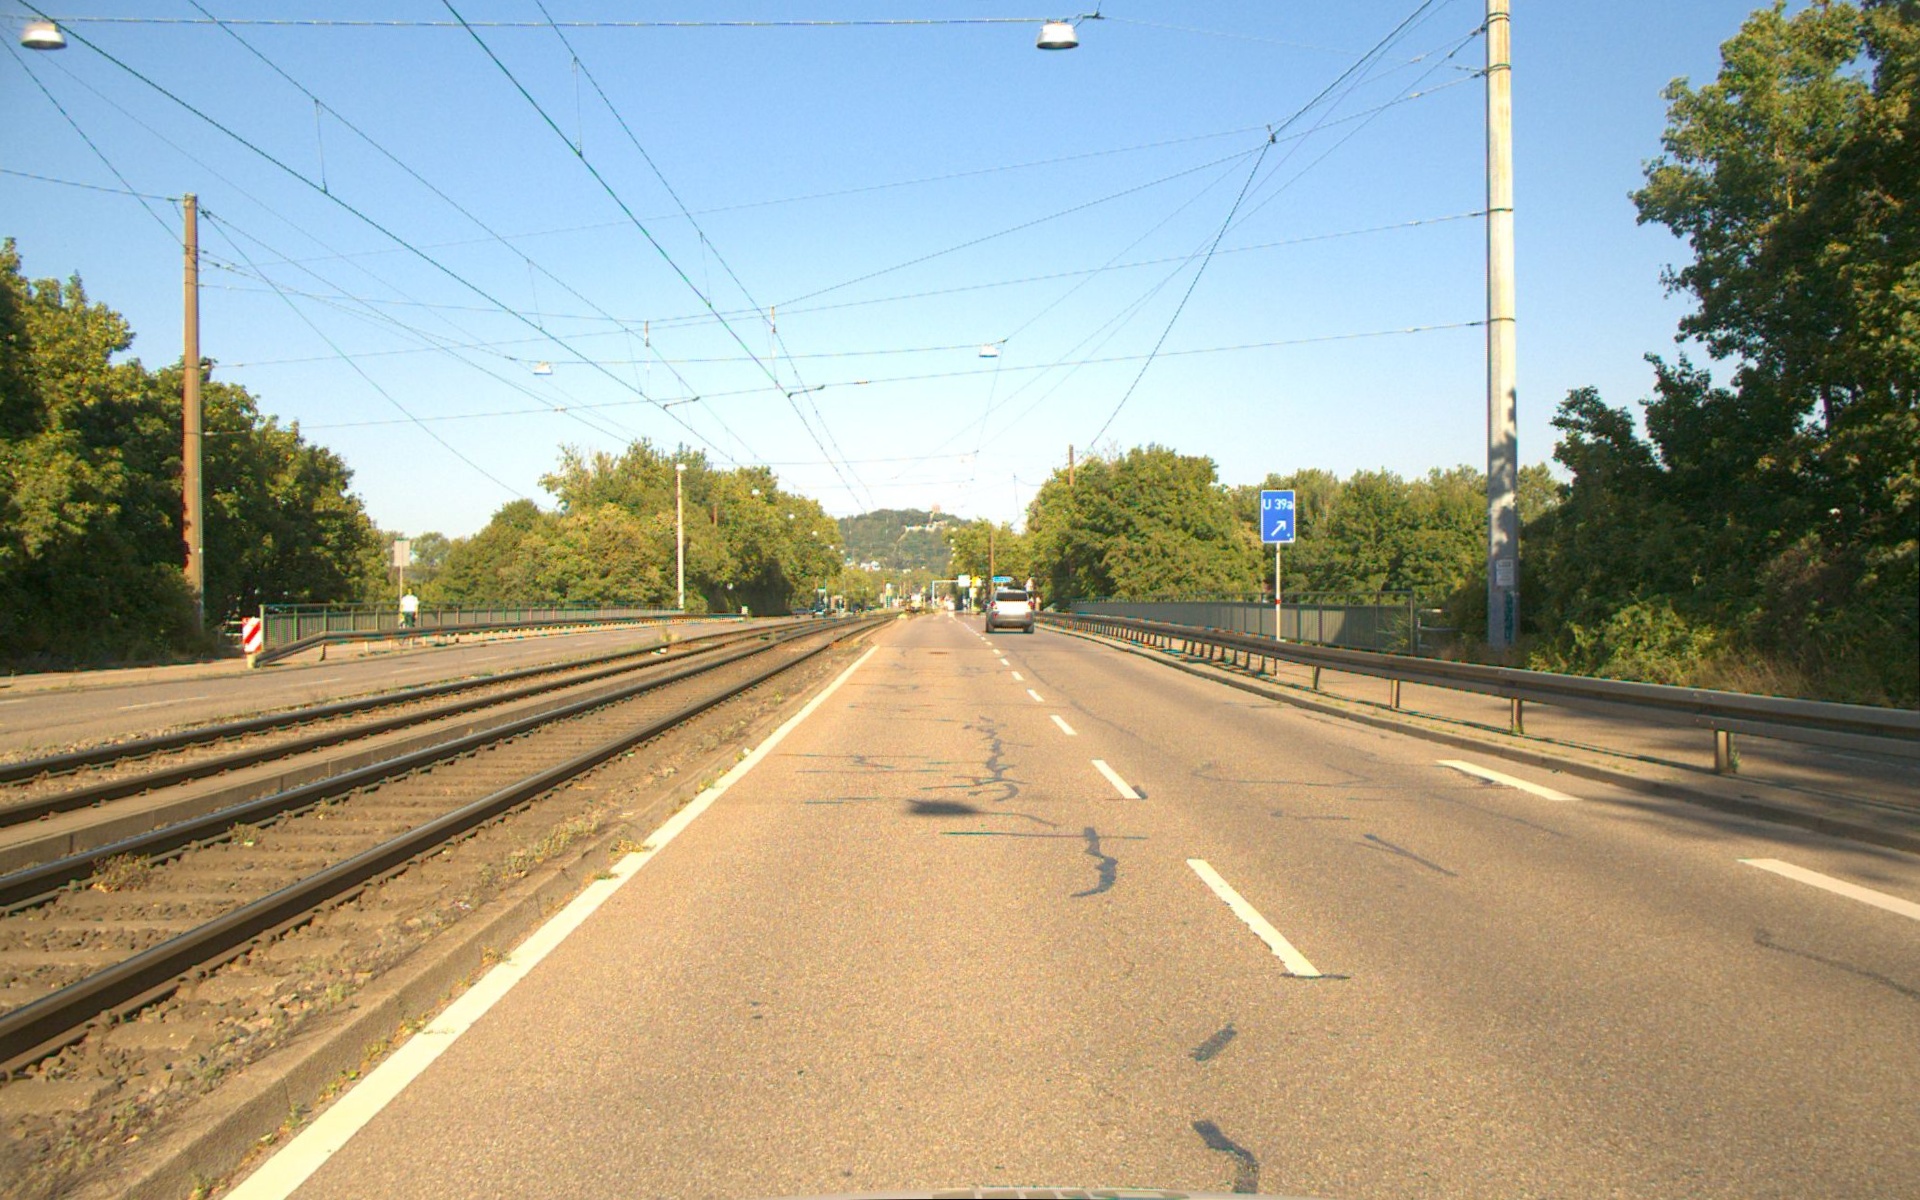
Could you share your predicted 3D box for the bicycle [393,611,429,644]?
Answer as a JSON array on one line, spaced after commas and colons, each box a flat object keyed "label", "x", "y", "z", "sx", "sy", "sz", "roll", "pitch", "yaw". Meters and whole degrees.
[{"label": "bicycle", "x": -18.033, "y": 0.892, "z": 54.341, "sx": 0.529, "sy": 1.061, "sz": 1.924, "roll": 1, "pitch": 0, "yaw": -1}]

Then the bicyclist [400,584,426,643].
[{"label": "bicyclist", "x": -18.024, "y": 0.445, "z": 54.556, "sx": 0.529, "sy": 1.895, "sz": 0.875, "roll": 1, "pitch": 0, "yaw": -1}]

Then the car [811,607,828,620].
[{"label": "car", "x": -18.942, "y": 1.809, "z": 223.320, "sx": 1.953, "sy": 1.646, "sz": 3.999, "roll": 1, "pitch": 0, "yaw": -1}]

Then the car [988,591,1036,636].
[{"label": "car", "x": 2.064, "y": 0.536, "z": 66.293, "sx": 1.849, "sy": 1.723, "sz": 4.257, "roll": 0, "pitch": 0, "yaw": 1}]
